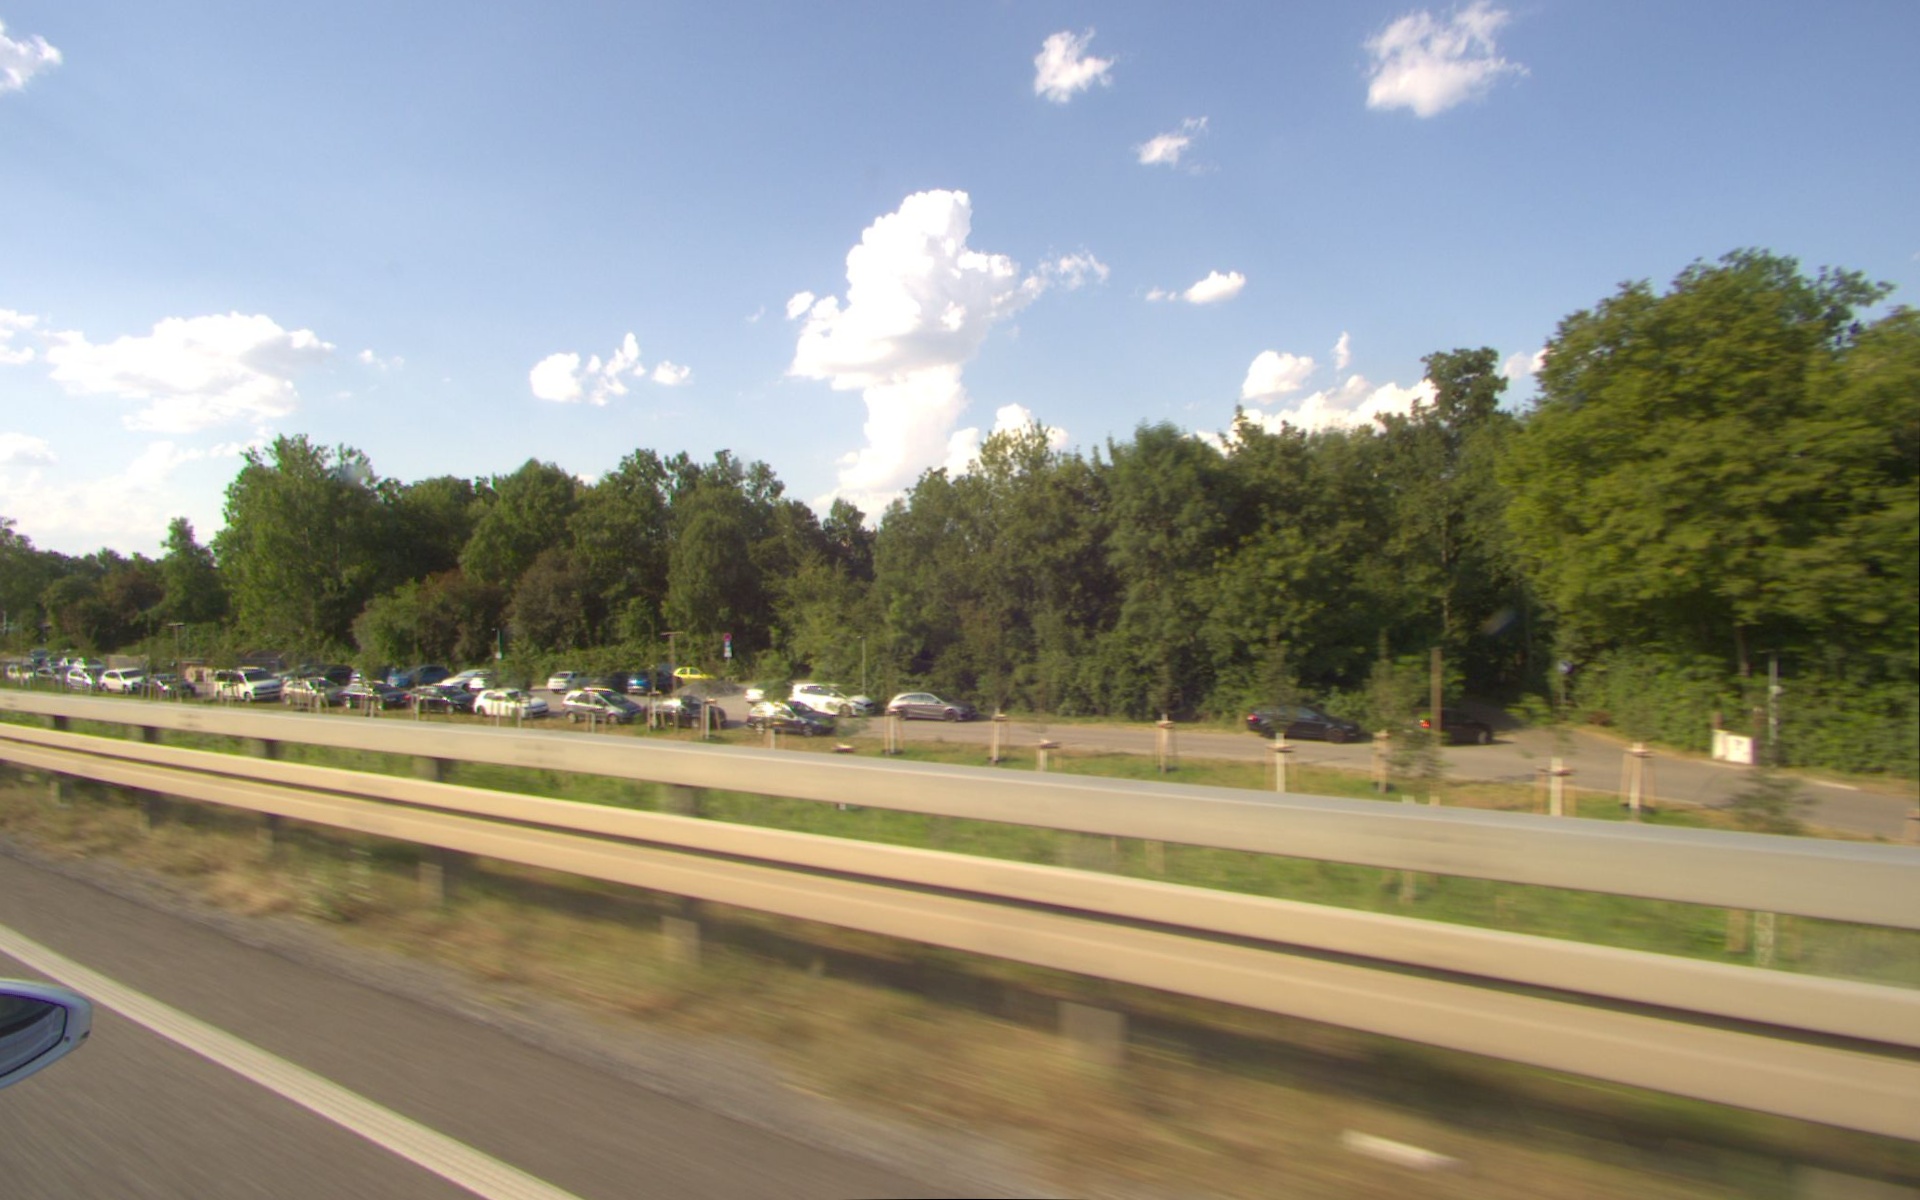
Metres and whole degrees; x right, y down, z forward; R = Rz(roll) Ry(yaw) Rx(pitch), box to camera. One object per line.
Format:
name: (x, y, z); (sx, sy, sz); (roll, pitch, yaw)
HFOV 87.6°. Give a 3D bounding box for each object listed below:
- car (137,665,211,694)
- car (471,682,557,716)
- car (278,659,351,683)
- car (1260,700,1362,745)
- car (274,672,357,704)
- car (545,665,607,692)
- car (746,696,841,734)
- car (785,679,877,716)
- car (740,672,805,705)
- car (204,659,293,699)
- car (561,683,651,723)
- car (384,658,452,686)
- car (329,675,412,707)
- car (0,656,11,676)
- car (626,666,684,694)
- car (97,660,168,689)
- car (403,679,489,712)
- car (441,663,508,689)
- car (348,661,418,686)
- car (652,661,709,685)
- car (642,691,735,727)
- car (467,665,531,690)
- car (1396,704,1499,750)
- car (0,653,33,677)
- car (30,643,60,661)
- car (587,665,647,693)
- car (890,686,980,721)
car: (-52.645, 5.307, 67.077); (4.703, 1.503, 1.891); (0, 4, 24)
car: (-24.288, 5.361, 54.494); (4.182, 1.503, 1.819); (0, 2, 20)
car: (-47.992, 5.251, 74.456); (1.810, 1.509, 4.216); (3, 1, 39)
car: (14.689, 5.089, 41.897); (3.773, 1.516, 1.651); (-1, 0, 31)
car: (-38.888, 5.298, 60.426); (4.703, 1.503, 1.891); (0, 4, 24)
car: (-25.796, 5.257, 67.476); (1.702, 1.475, 4.411); (0, 0, 14)
car: (-7.810, 5.379, 47.016); (4.151, 1.516, 1.655); (-1, 0, 22)
car: (-6.752, 5.071, 52.368); (4.632, 1.688, 1.654); (-1, 0, 25)
car: (-10.752, 5.076, 57.823); (1.590, 1.476, 4.233); (1, 1, 23)
car: (-45.238, 4.979, 63.655); (5.289, 2.046, 2.118); (1, 4, 24)
car: (-18.427, 5.319, 52.101); (4.182, 1.681, 1.819); (0, 2, 20)
car: (-39.028, 5.147, 72.219); (1.801, 1.765, 4.240); (1, -1, 18)
car: (-34.326, 5.264, 58.310); (4.318, 1.503, 1.819); (0, 2, 20)
car: (-82.920, 5.602, 85.005); (4.706, 1.581, 1.890); (1, 2, 27)
car: (-20.124, 5.253, 66.216); (1.588, 1.475, 4.239); (1, 1, 18)
car: (-58.016, 5.200, 70.224); (4.703, 1.581, 1.891); (0, 4, 24)
car: (-28.887, 5.331, 56.277); (4.318, 1.503, 1.819); (0, 2, 20)
car: (-33.680, 5.245, 69.597); (1.740, 1.517, 4.240); (1, -1, 18)
car: (-42.337, 5.396, 73.565); (1.803, 1.625, 4.236); (0, -1, 23)
car: (-19.638, 5.144, 70.407); (3.606, 1.476, 1.497); (0, 1, 13)
car: (-13.506, 5.404, 49.862); (4.182, 1.421, 1.819); (0, 2, 20)
car: (-31.521, 5.270, 68.569); (1.588, 1.475, 4.241); (0, -1, 17)
car: (19.715, 5.107, 40.527); (3.620, 1.516, 1.657); (-1, 0, -18)
car: (-78.183, 5.264, 81.946); (4.706, 1.581, 1.889); (1, 4, 27)
car: (-89.903, 5.098, 98.438); (1.685, 1.418, 4.748); (-3, 2, -37)
car: (-22.860, 5.245, 66.797); (1.588, 1.475, 4.240); (1, 0, 18)
car: (-1.264, 5.111, 49.748); (4.151, 1.516, 1.655); (-1, 0, 22)
